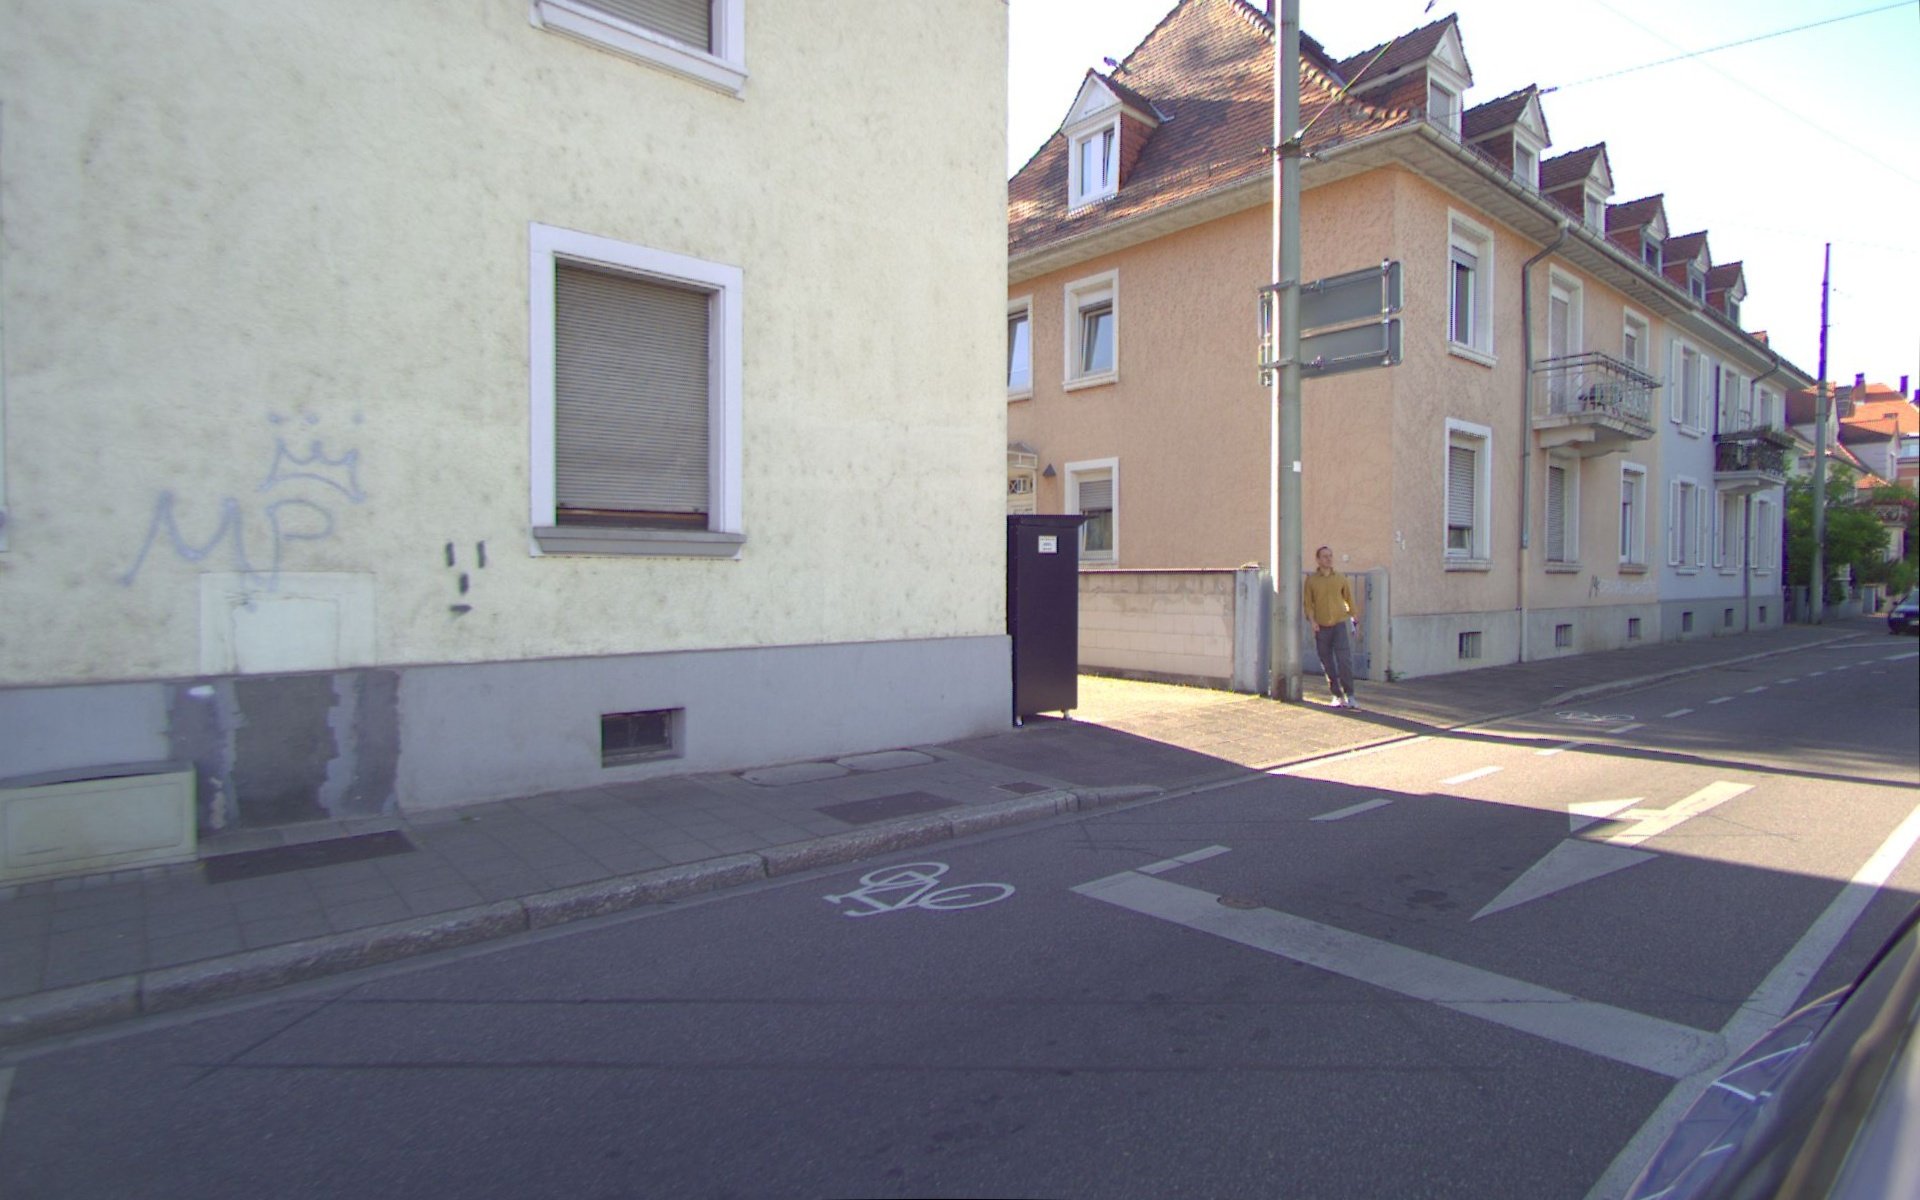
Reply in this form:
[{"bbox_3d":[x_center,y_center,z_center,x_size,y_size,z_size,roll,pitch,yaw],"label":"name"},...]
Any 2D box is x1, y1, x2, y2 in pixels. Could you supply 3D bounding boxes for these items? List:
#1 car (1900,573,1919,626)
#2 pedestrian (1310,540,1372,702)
[{"bbox_3d":[29.104,-0.027,29.439,3.926,1.504,1.883,-1,2,-37],"label":"car"},{"bbox_3d":[4.338,0.224,11.523,0.597,1.782,0.482,1,1,28],"label":"pedestrian"}]
